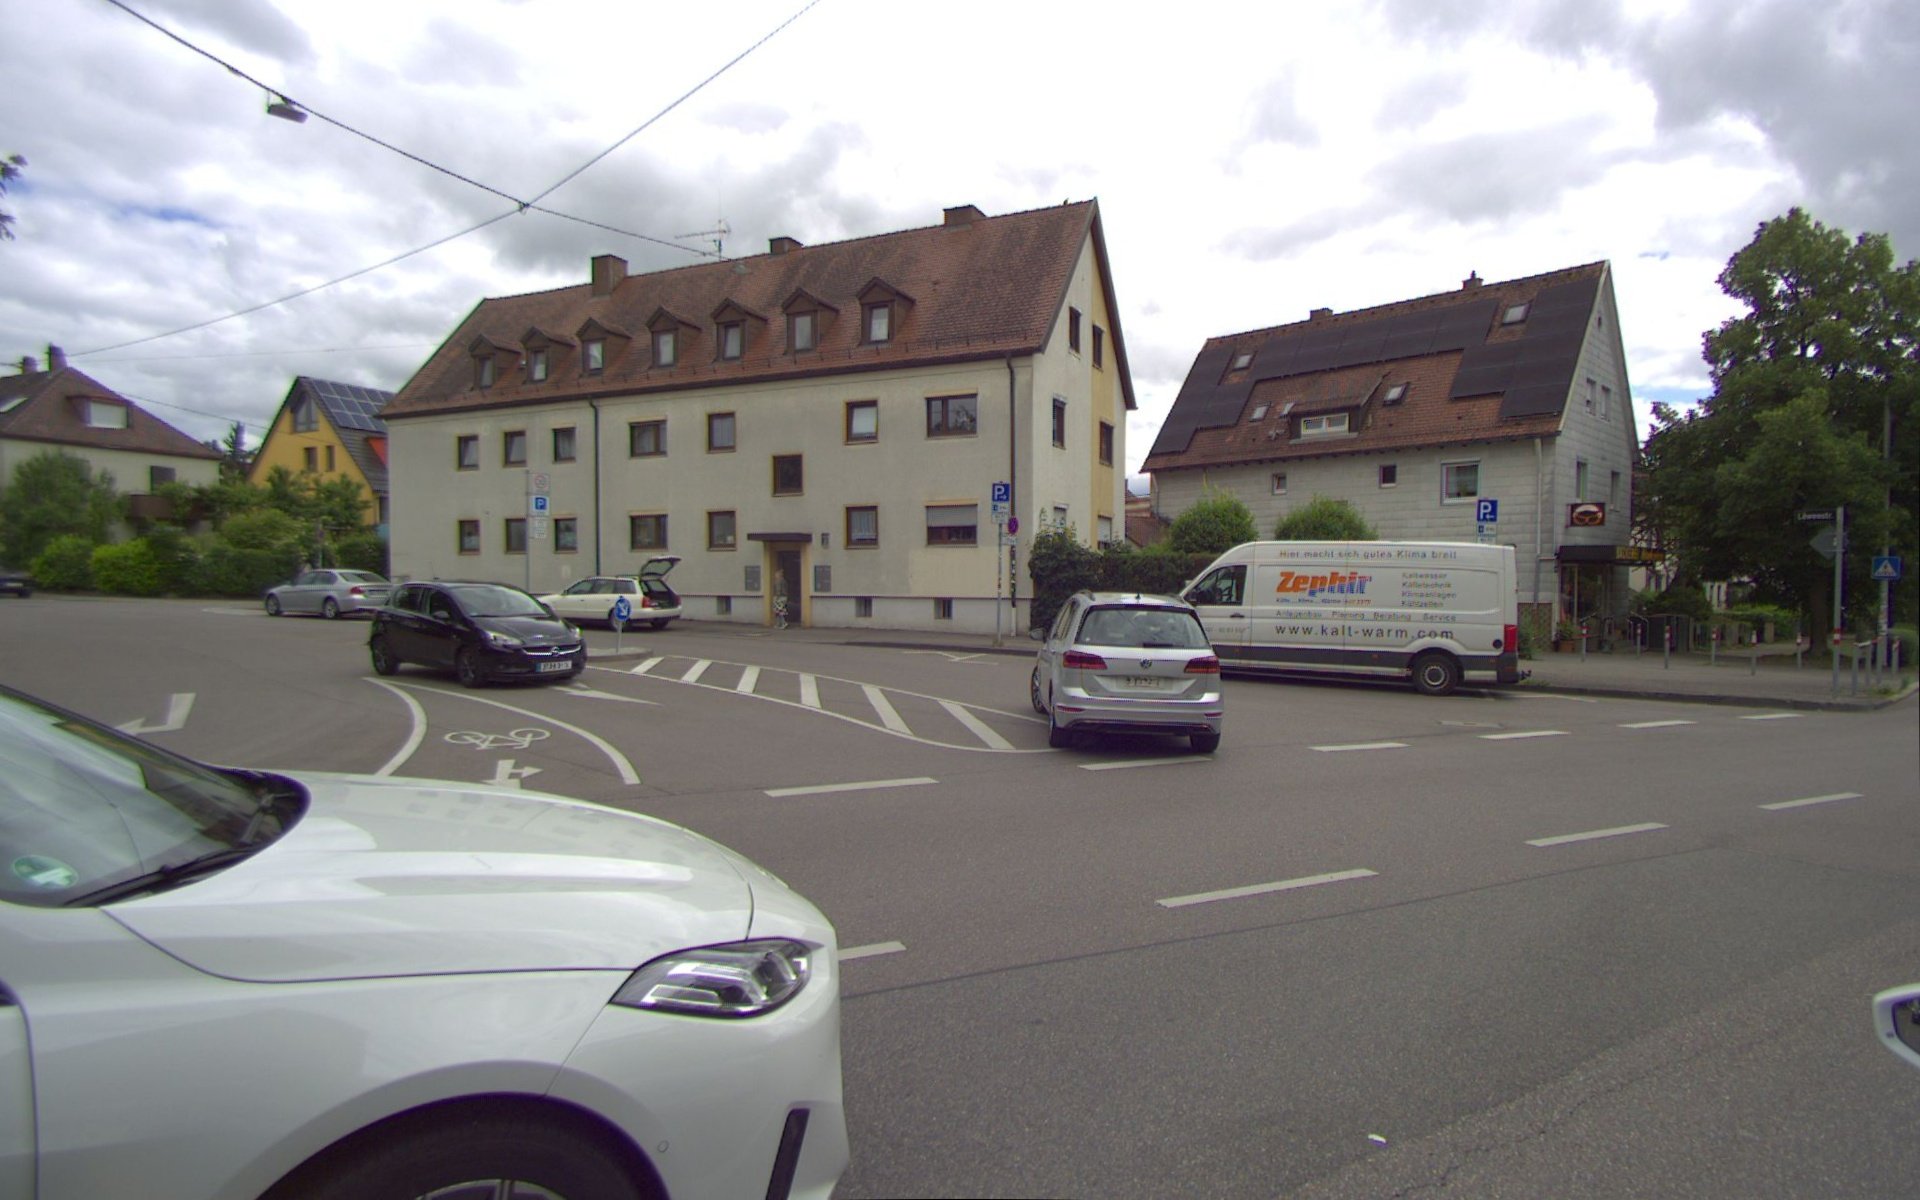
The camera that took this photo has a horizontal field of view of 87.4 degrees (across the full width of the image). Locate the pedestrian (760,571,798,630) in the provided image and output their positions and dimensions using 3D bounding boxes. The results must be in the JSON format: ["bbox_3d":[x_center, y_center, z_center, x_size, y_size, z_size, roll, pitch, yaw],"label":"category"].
[{"bbox_3d":[-4.905,-0.001,27.284,0.702,1.555,0.749,3,4,19],"label":"pedestrian"}]

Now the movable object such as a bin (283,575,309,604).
[{"bbox_3d":[-24.020,-0.395,36.337,0.862,1.010,0.403,4,4,27],"label":"movable object such as a bin"}]

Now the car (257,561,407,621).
[{"bbox_3d":[-18.491,-0.261,29.556,4.153,1.554,1.682,3,0,24],"label":"car"}]

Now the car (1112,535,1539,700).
[{"bbox_3d":[6.408,0.149,18.258,6.848,2.556,2.083,2,3,24],"label":"car"}]

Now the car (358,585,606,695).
[{"bbox_3d":[-7.359,0.519,15.373,3.932,1.355,1.639,2,3,33],"label":"car"}]

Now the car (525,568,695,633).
[{"bbox_3d":[-9.393,-0.030,26.943,4.233,1.459,1.721,3,4,22],"label":"car"}]

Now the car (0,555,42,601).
[{"bbox_3d":[-36.994,-0.875,38.161,3.816,1.556,1.801,3,4,25],"label":"car"}]

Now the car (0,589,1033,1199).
[{"bbox_3d":[-2.112,0.760,1.758,4.155,1.538,1.788,1,1,-29],"label":"car"}]

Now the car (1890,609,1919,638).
[{"bbox_3d":[64.892,1.594,68.730,1.623,1.748,3.780,5,4,40],"label":"car"}]

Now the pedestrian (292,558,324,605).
[{"bbox_3d":[-23.325,-0.668,35.934,0.767,1.655,0.681,4,4,27],"label":"pedestrian"}]

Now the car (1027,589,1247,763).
[{"bbox_3d":[1.787,0.690,11.420,1.891,1.595,4.000,1,1,2],"label":"car"}]
